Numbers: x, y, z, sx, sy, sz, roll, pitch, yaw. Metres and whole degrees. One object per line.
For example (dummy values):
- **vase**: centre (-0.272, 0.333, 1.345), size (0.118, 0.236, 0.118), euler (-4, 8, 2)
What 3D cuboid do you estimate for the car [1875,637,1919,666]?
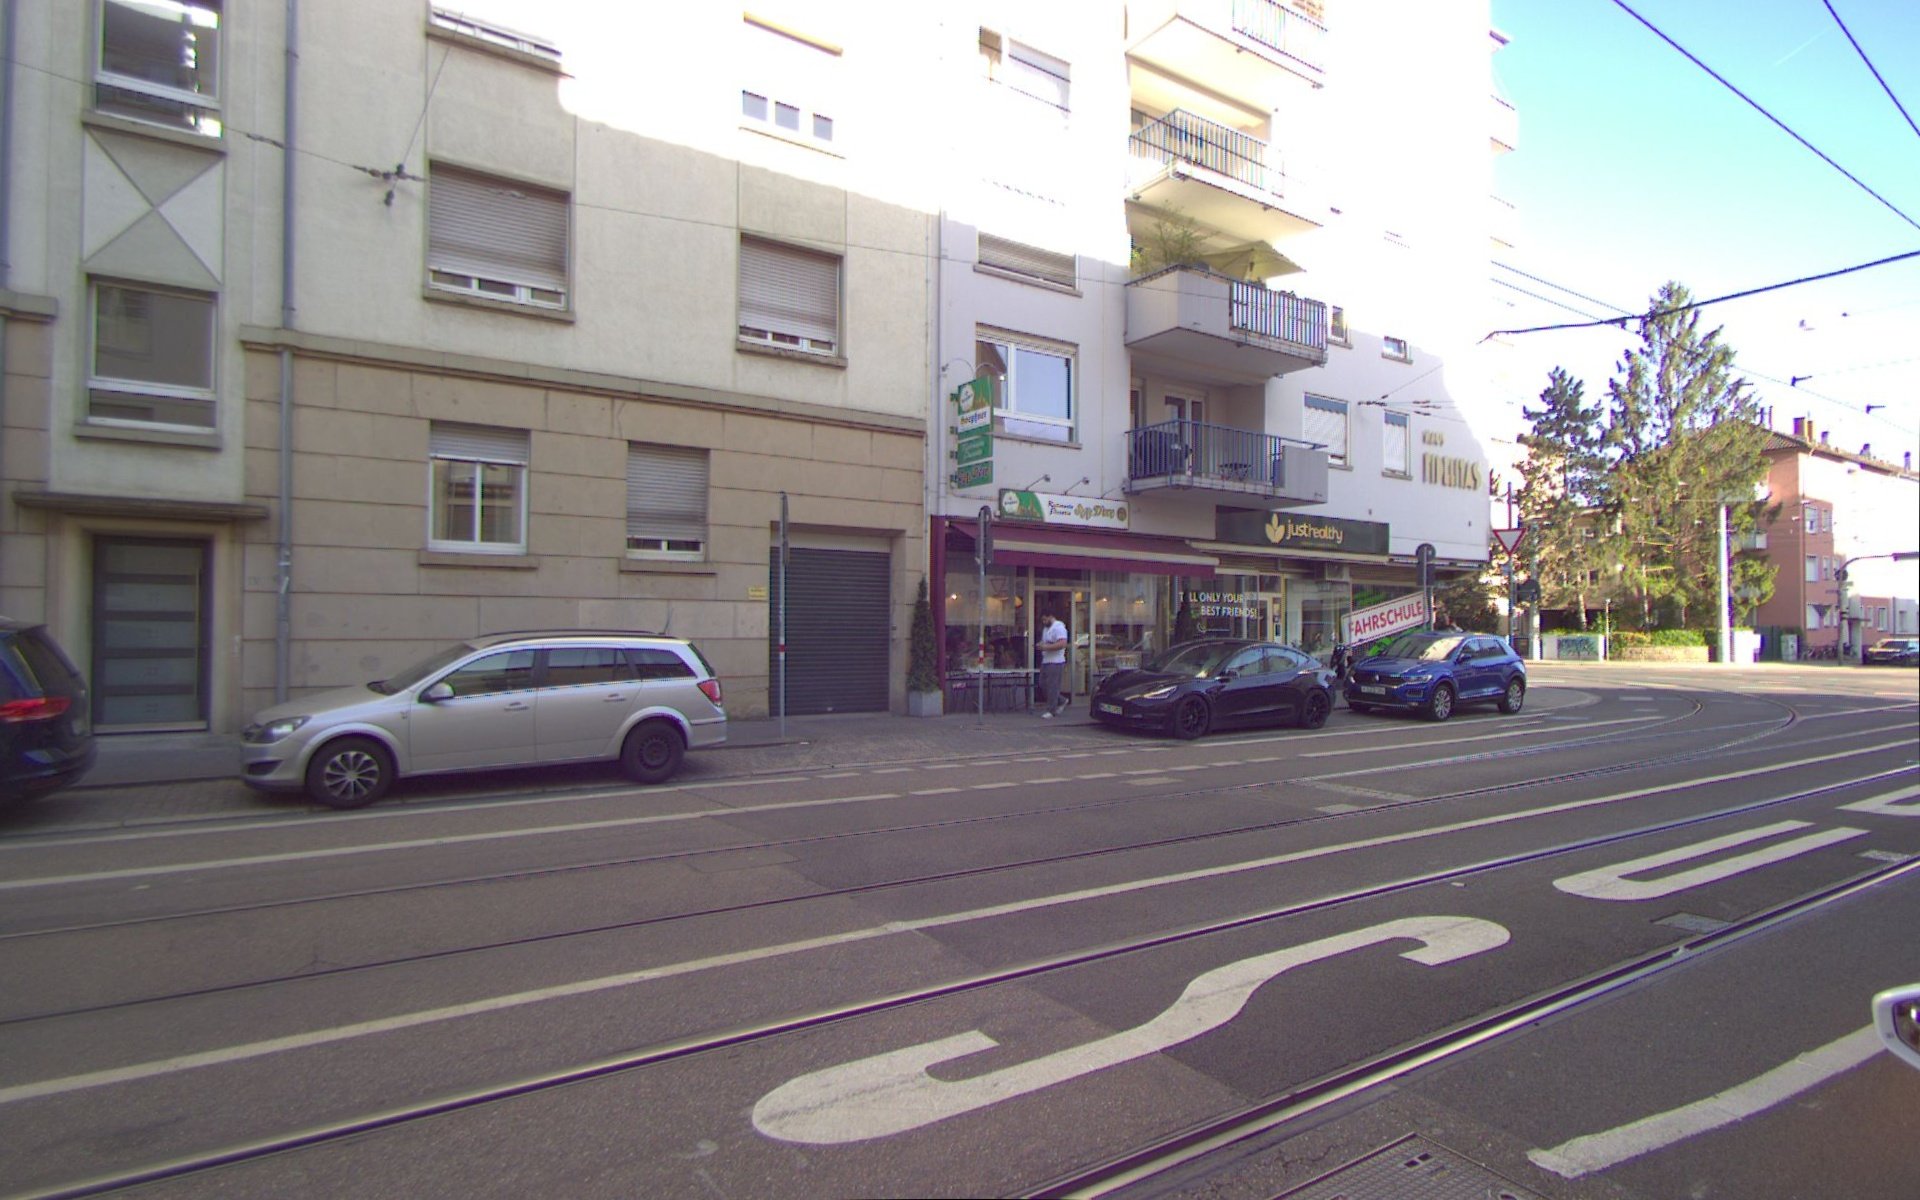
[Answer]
- **car**: centre (53.233, 2.888, 56.233), size (4.250, 1.518, 1.806), euler (2, 0, -30)

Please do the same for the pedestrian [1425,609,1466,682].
- **pedestrian**: centre (13.829, 1.279, 28.610), size (0.688, 2.040, 0.764), euler (2, 0, -35)

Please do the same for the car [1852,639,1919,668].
- **car**: centre (49.574, 2.834, 53.638), size (3.949, 1.440, 1.784), euler (2, 0, -31)

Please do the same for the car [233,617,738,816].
- **car**: centre (-4.711, 1.035, 10.310), size (4.319, 1.580, 1.981), euler (2, 0, -34)

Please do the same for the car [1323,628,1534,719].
- **car**: centre (8.941, 1.319, 19.090), size (4.030, 1.552, 1.858), euler (1, -2, -34)

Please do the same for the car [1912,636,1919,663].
- **car**: centre (58.172, 2.965, 59.359), size (4.103, 1.531, 1.778), euler (2, 0, -31)

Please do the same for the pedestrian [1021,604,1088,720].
- **pedestrian**: centre (1.552, 0.998, 16.457), size (0.802, 1.827, 0.689), euler (2, 0, -30)

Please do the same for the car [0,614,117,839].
- **car**: centre (-8.971, 0.898, 7.215), size (4.249, 1.606, 1.893), euler (2, 0, -35)

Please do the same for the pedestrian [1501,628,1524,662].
- **pedestrian**: centre (30.732, 2.498, 55.882), size (0.890, 1.815, 0.803), euler (2, 0, 43)

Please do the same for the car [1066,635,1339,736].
- **car**: centre (3.963, 1.275, 16.134), size (4.382, 1.405, 1.810), euler (1, -2, -34)
